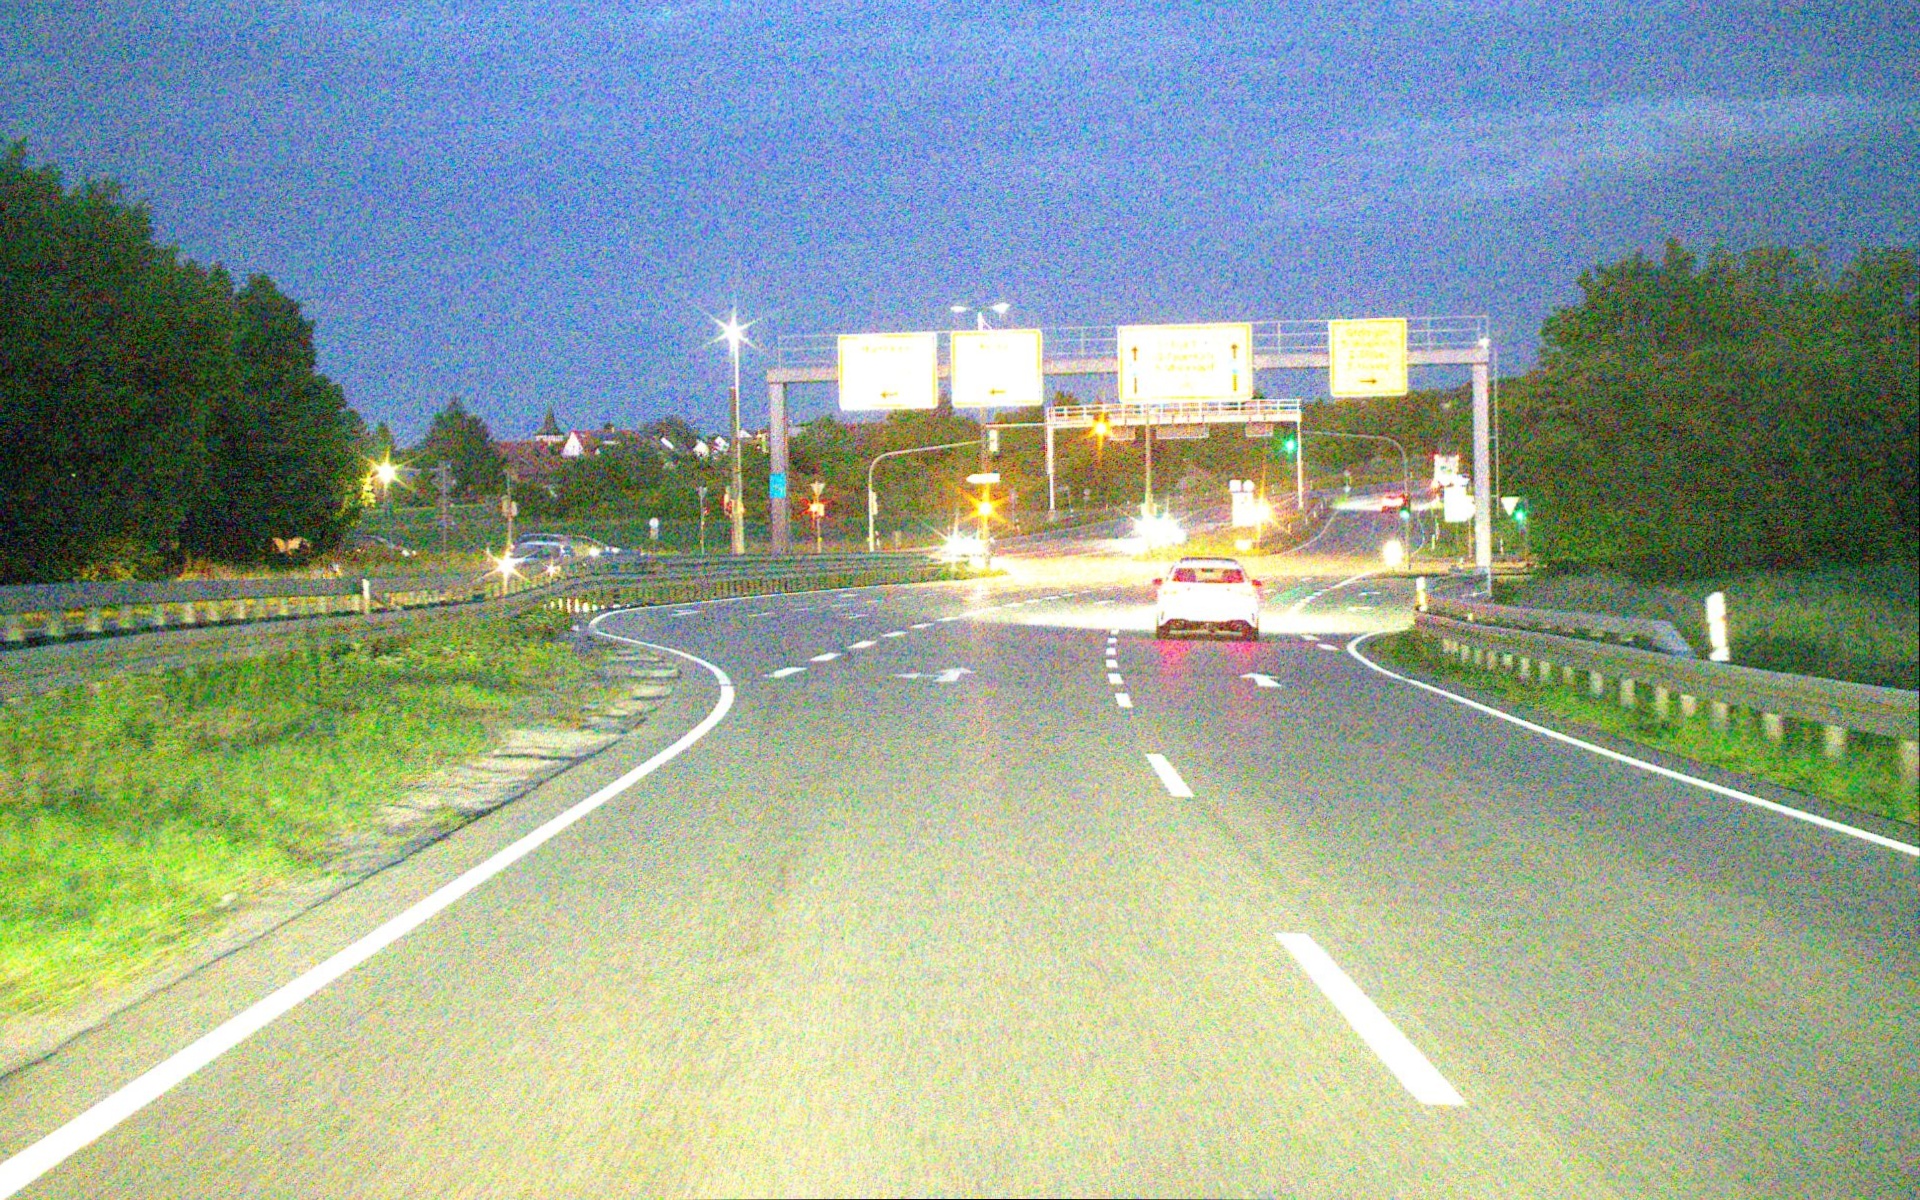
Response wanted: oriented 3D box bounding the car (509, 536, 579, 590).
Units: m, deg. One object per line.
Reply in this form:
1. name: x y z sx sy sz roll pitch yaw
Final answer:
1. car: -12.762 -1.152 105.717 1.701 1.617 4.307 0 1 -1

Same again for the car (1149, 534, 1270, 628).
1. car: 4.394 -0.358 61.062 2.008 1.605 3.845 0 1 2

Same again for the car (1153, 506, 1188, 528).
1. car: 14.442 -5.707 235.817 1.994 1.476 4.680 0 2 9

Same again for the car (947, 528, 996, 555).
1. car: 0.619 -3.228 187.770 1.994 1.420 4.531 0 2 9
